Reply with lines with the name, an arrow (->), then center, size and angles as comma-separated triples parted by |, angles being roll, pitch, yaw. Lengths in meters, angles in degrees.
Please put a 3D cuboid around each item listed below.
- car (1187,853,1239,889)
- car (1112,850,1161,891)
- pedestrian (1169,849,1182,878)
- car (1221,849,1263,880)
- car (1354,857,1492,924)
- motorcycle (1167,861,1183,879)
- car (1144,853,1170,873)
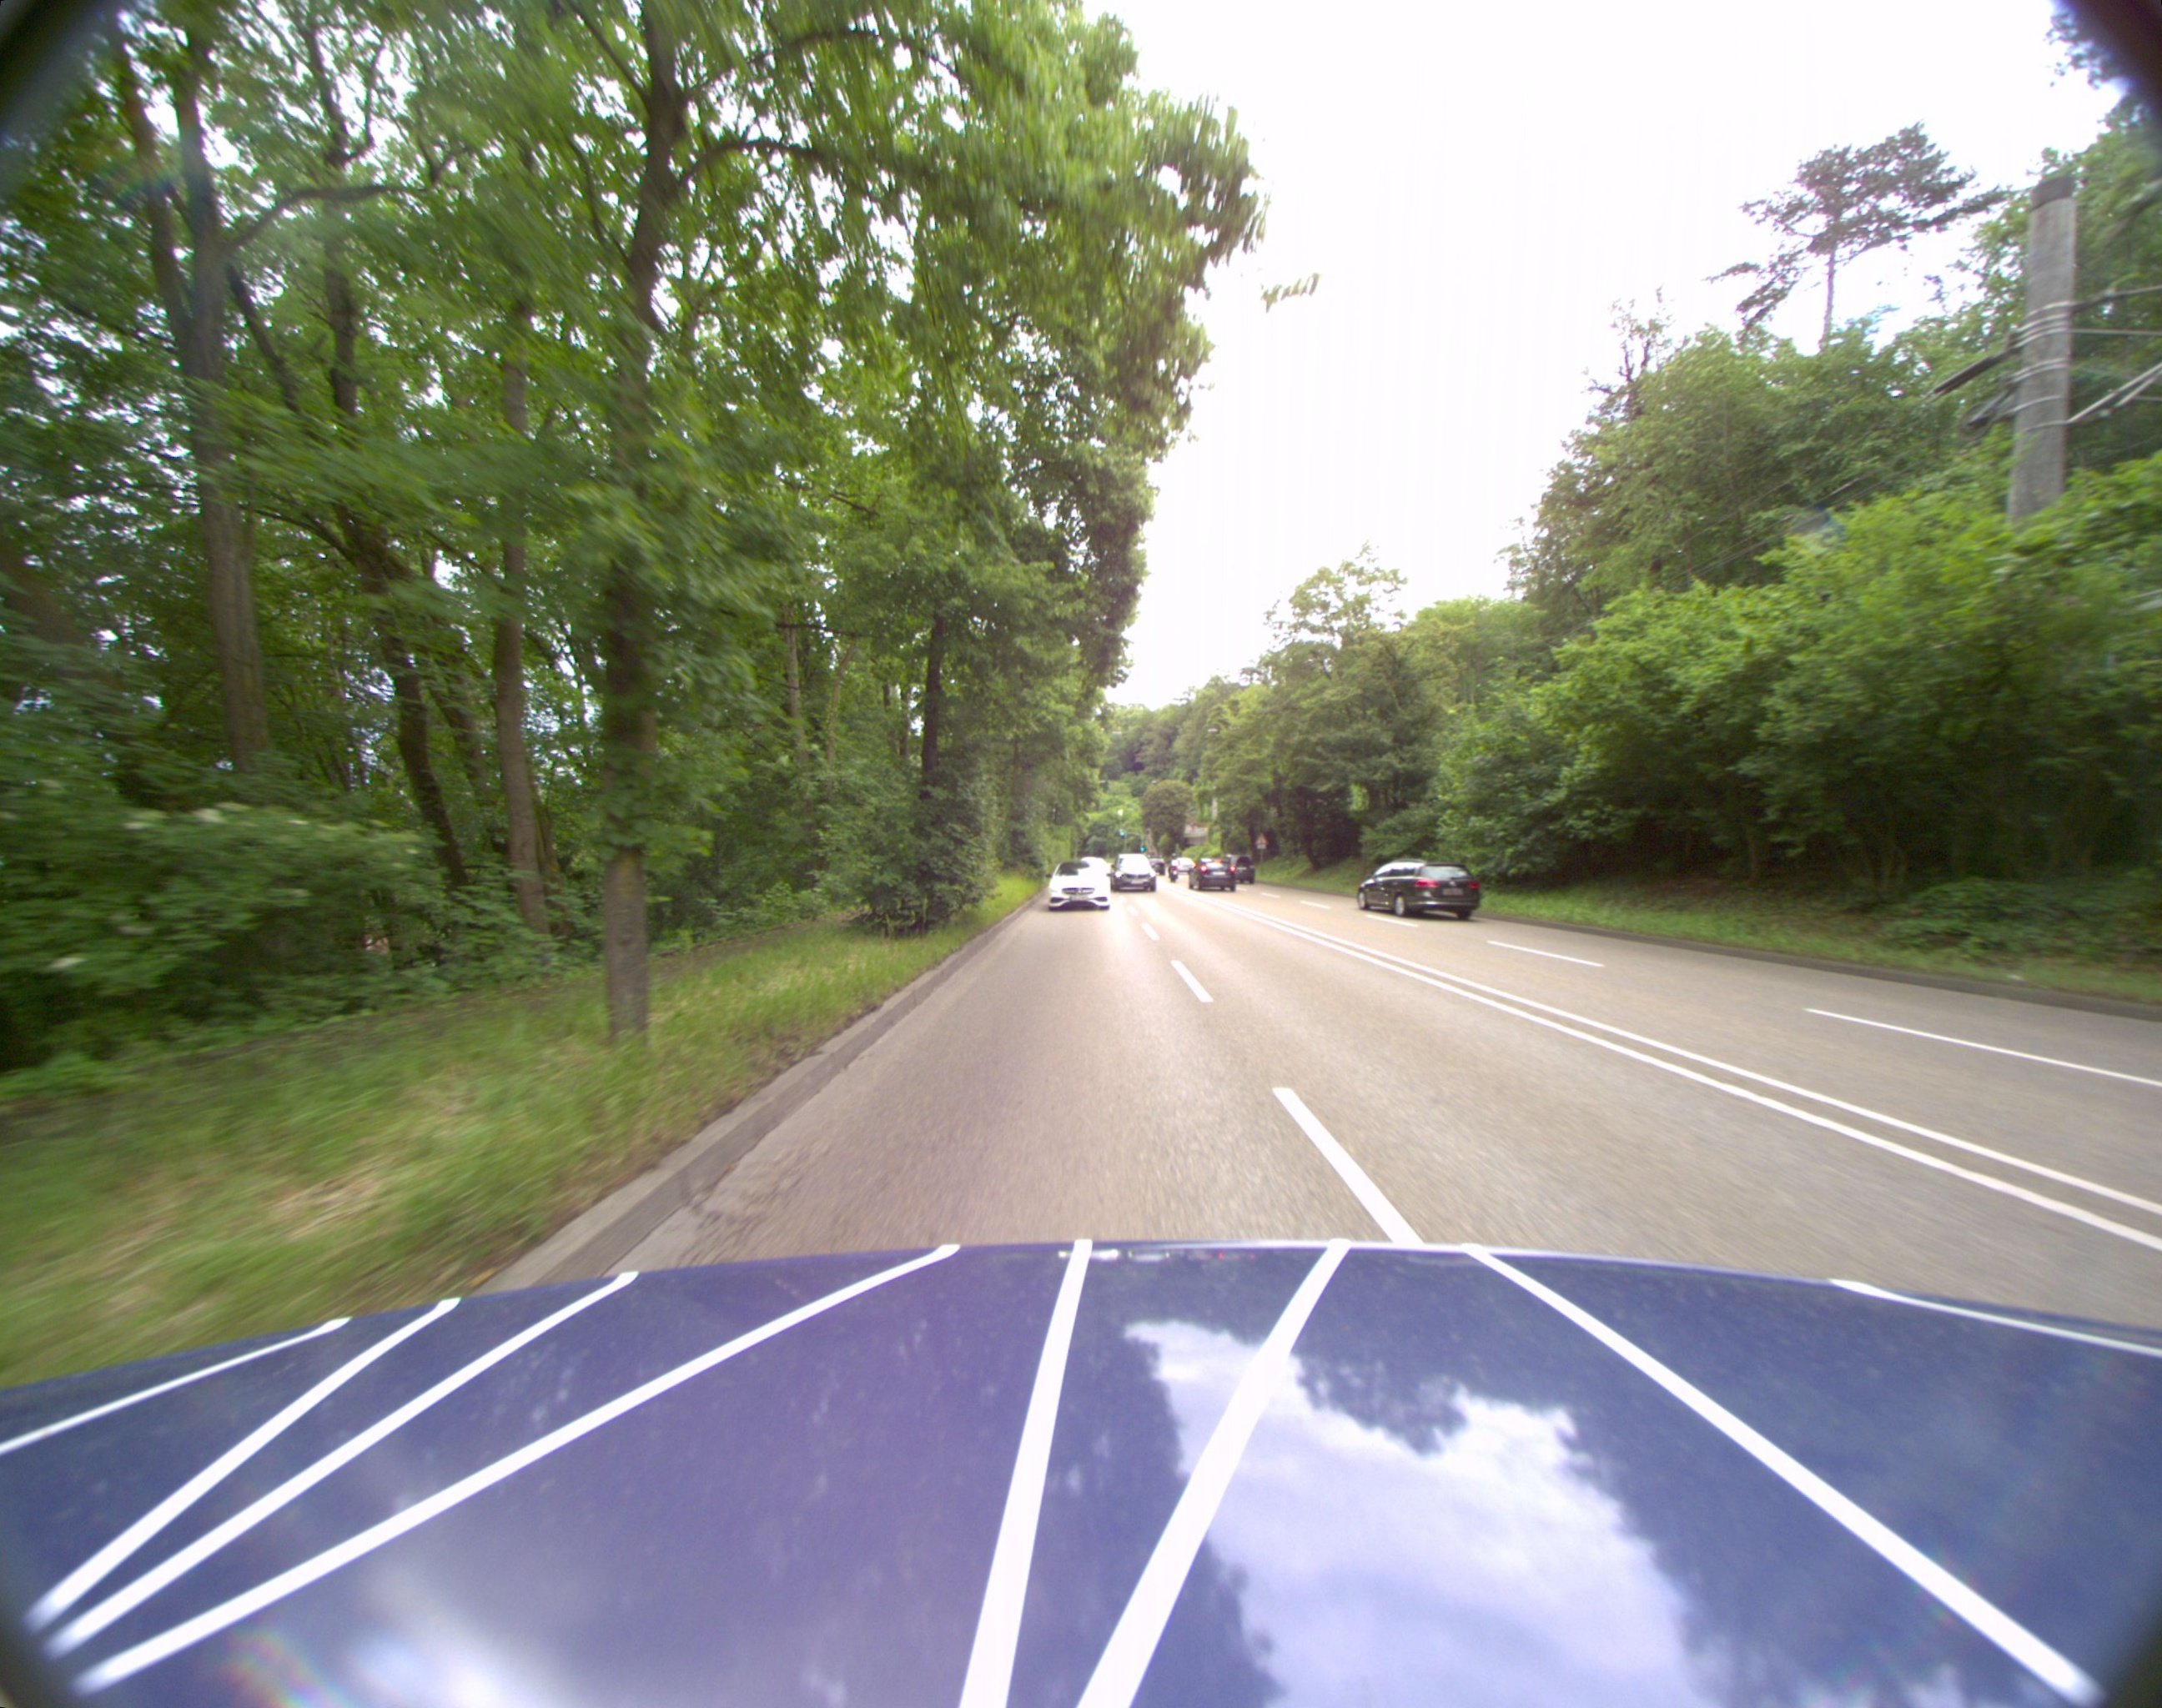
car -> 5.937, 0.738, 34.601 | 1.690, 1.453, 4.000 | 2, 1, 1
car -> 2.390, 0.672, 33.714 | 1.871, 1.653, 4.192 | 2, 1, 0
pedestrian -> 5.611, 0.539, 45.102 | 0.664, 1.678, 0.830 | 1, 1, 1
car -> 9.705, 0.604, 45.987 | 1.662, 1.762, 4.135 | 2, 1, 1
car -> 8.953, 0.874, 20.349 | 1.736, 1.502, 4.433 | 1, 1, 1
motorcycle -> 5.597, 0.940, 45.216 | 0.701, 0.993, 2.026 | 1, 0, 1
car -> 6.360, 0.749, 64.120 | 1.802, 1.543, 4.000 | -1, 1, 1
